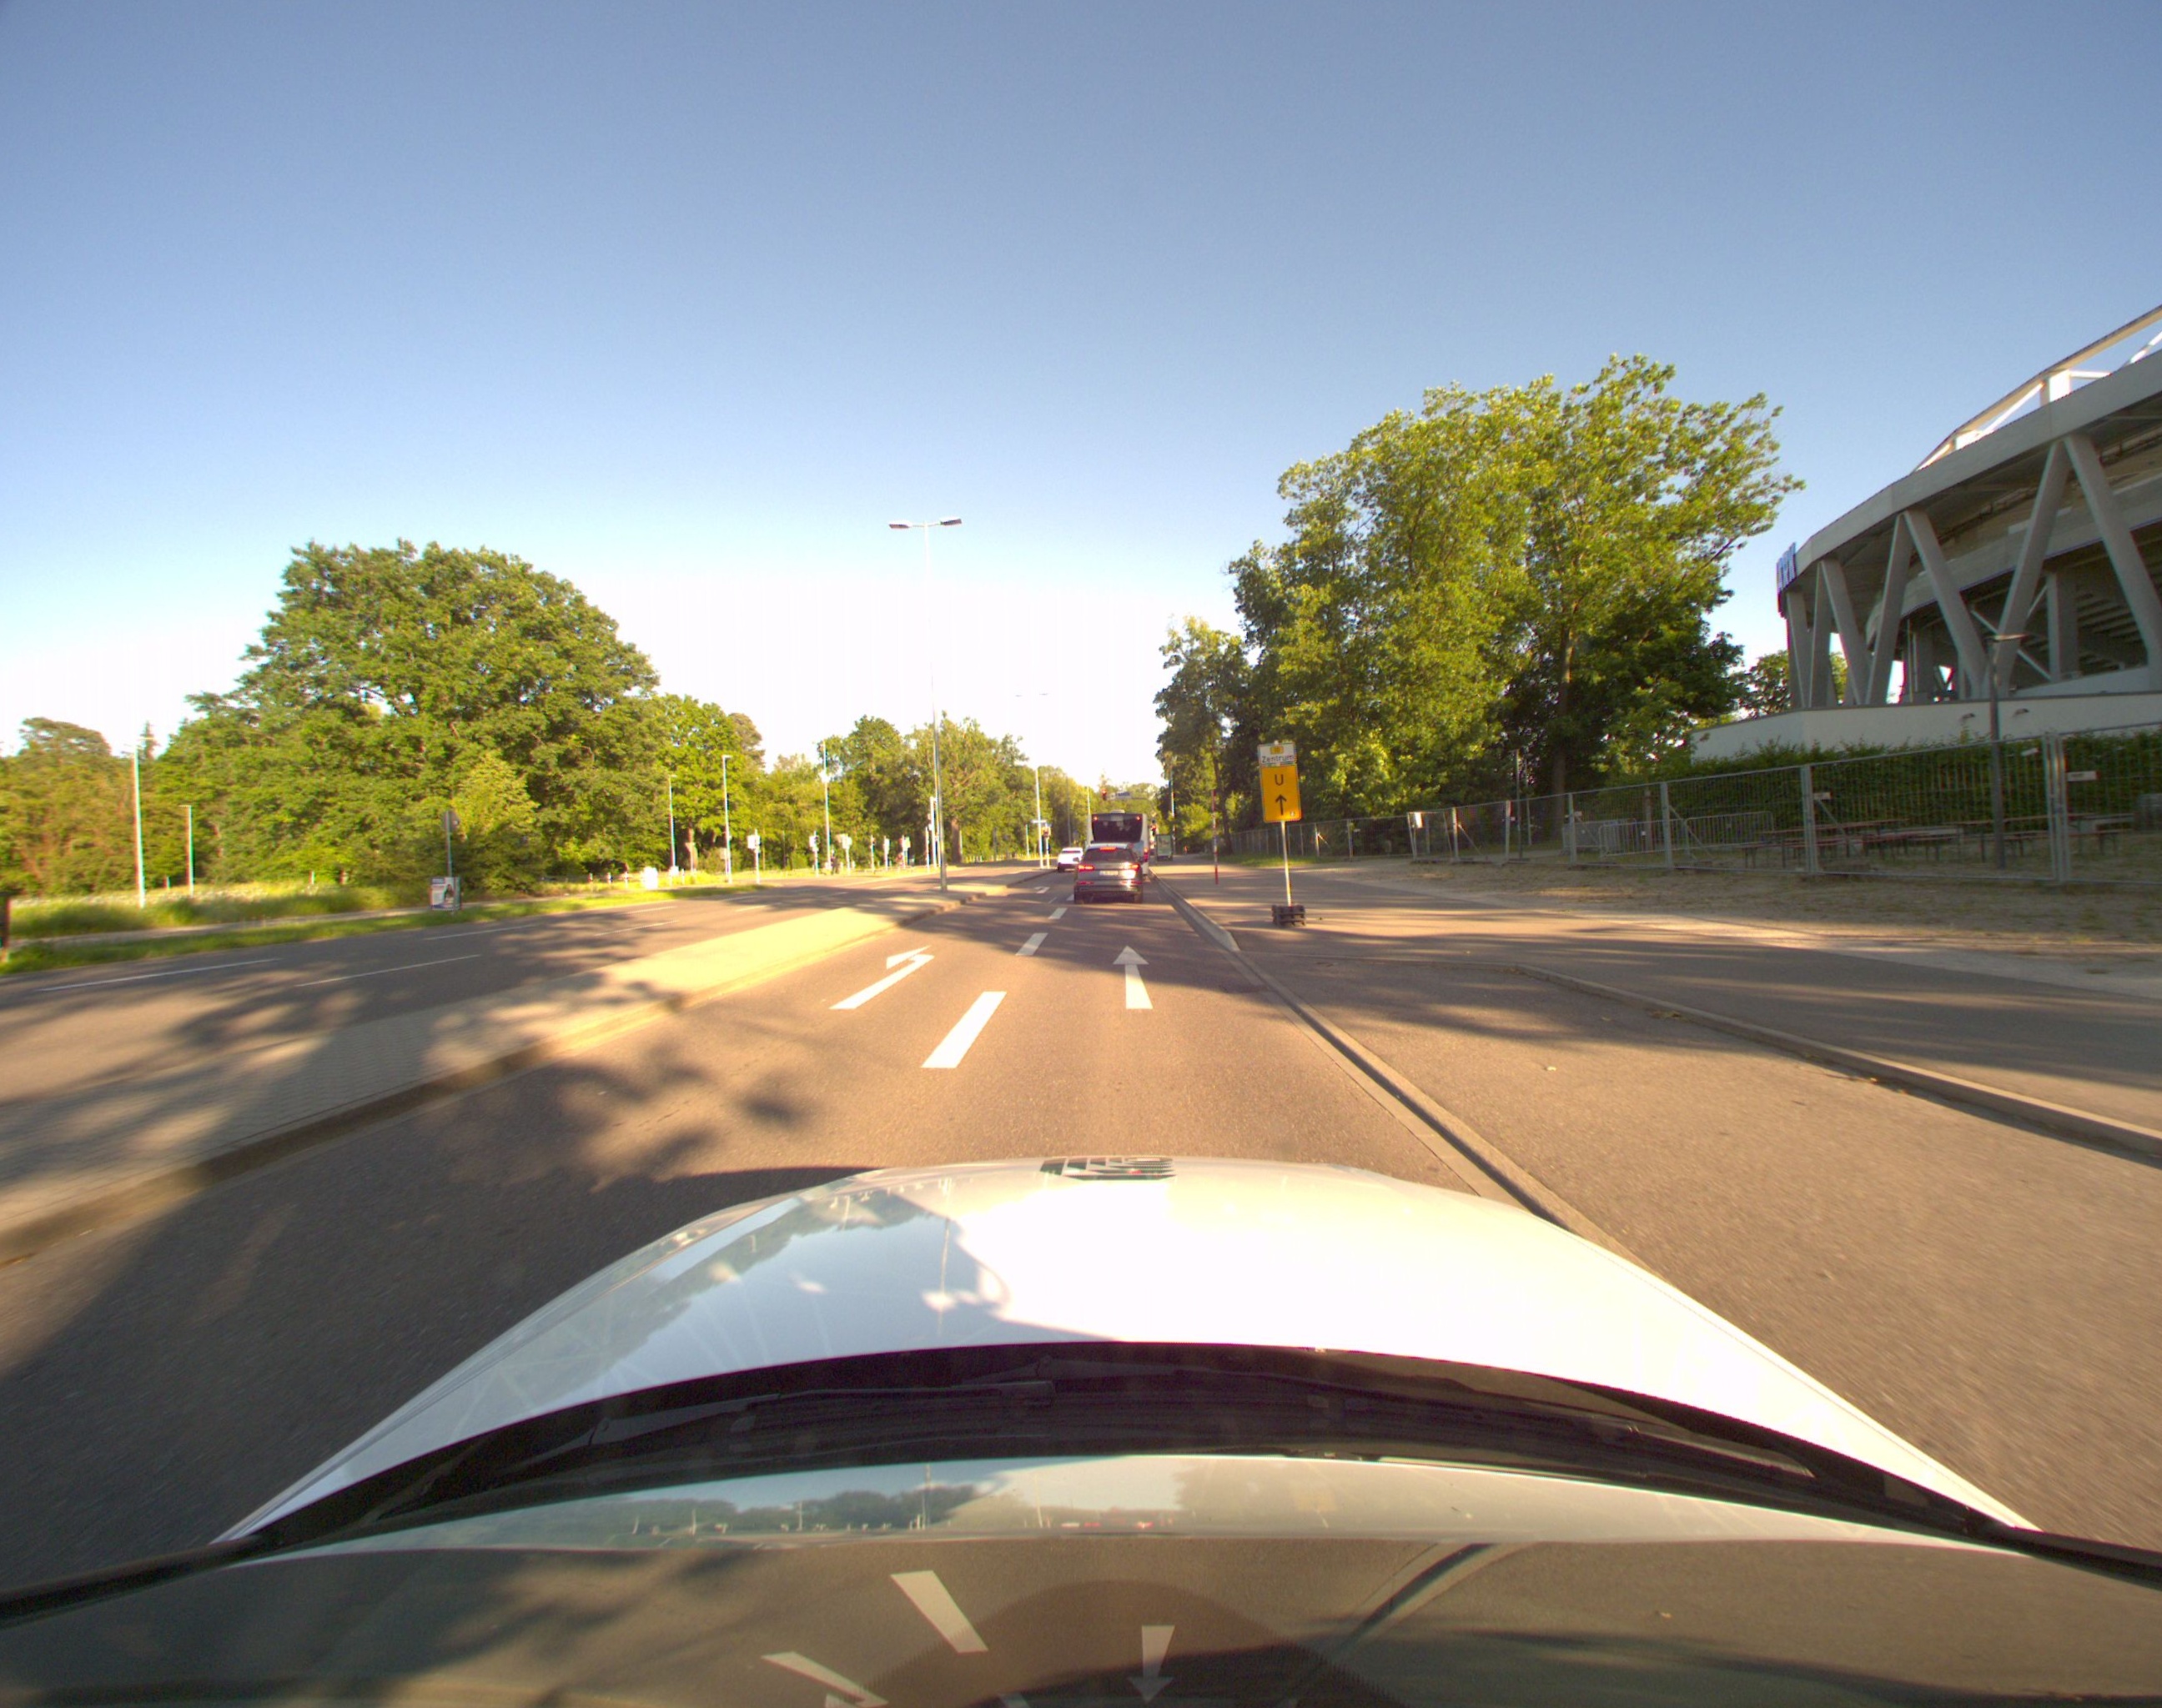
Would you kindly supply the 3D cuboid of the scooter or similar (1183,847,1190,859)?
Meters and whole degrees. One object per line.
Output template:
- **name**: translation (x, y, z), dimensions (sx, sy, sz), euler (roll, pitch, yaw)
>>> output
- **scooter or similar**: translation (13.634, -0.160, 105.732), dimensions (0.506, 1.444, 2.021), euler (-3, 0, -2)

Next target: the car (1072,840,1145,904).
- **car**: translation (0.820, 0.455, 23.163), dimensions (1.891, 1.632, 4.003), euler (-1, 0, 3)

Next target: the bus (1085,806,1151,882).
- **bus**: translation (1.738, -0.390, 37.386), dimensions (2.584, 2.989, 9.333), euler (-1, 0, 3)

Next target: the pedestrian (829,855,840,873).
- **pedestrian**: translation (-20.764, 0.843, 68.691), dimensions (0.652, 1.560, 0.533), euler (-3, 0, -39)

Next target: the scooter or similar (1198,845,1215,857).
- **scooter or similar**: translation (15.894, -0.386, 103.177), dimensions (2.024, 1.444, 0.601), euler (-3, 0, -22)

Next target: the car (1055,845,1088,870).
- **car**: translation (-0.576, 0.203, 52.317), dimensions (1.829, 1.518, 4.003), euler (-2, 0, 3)
